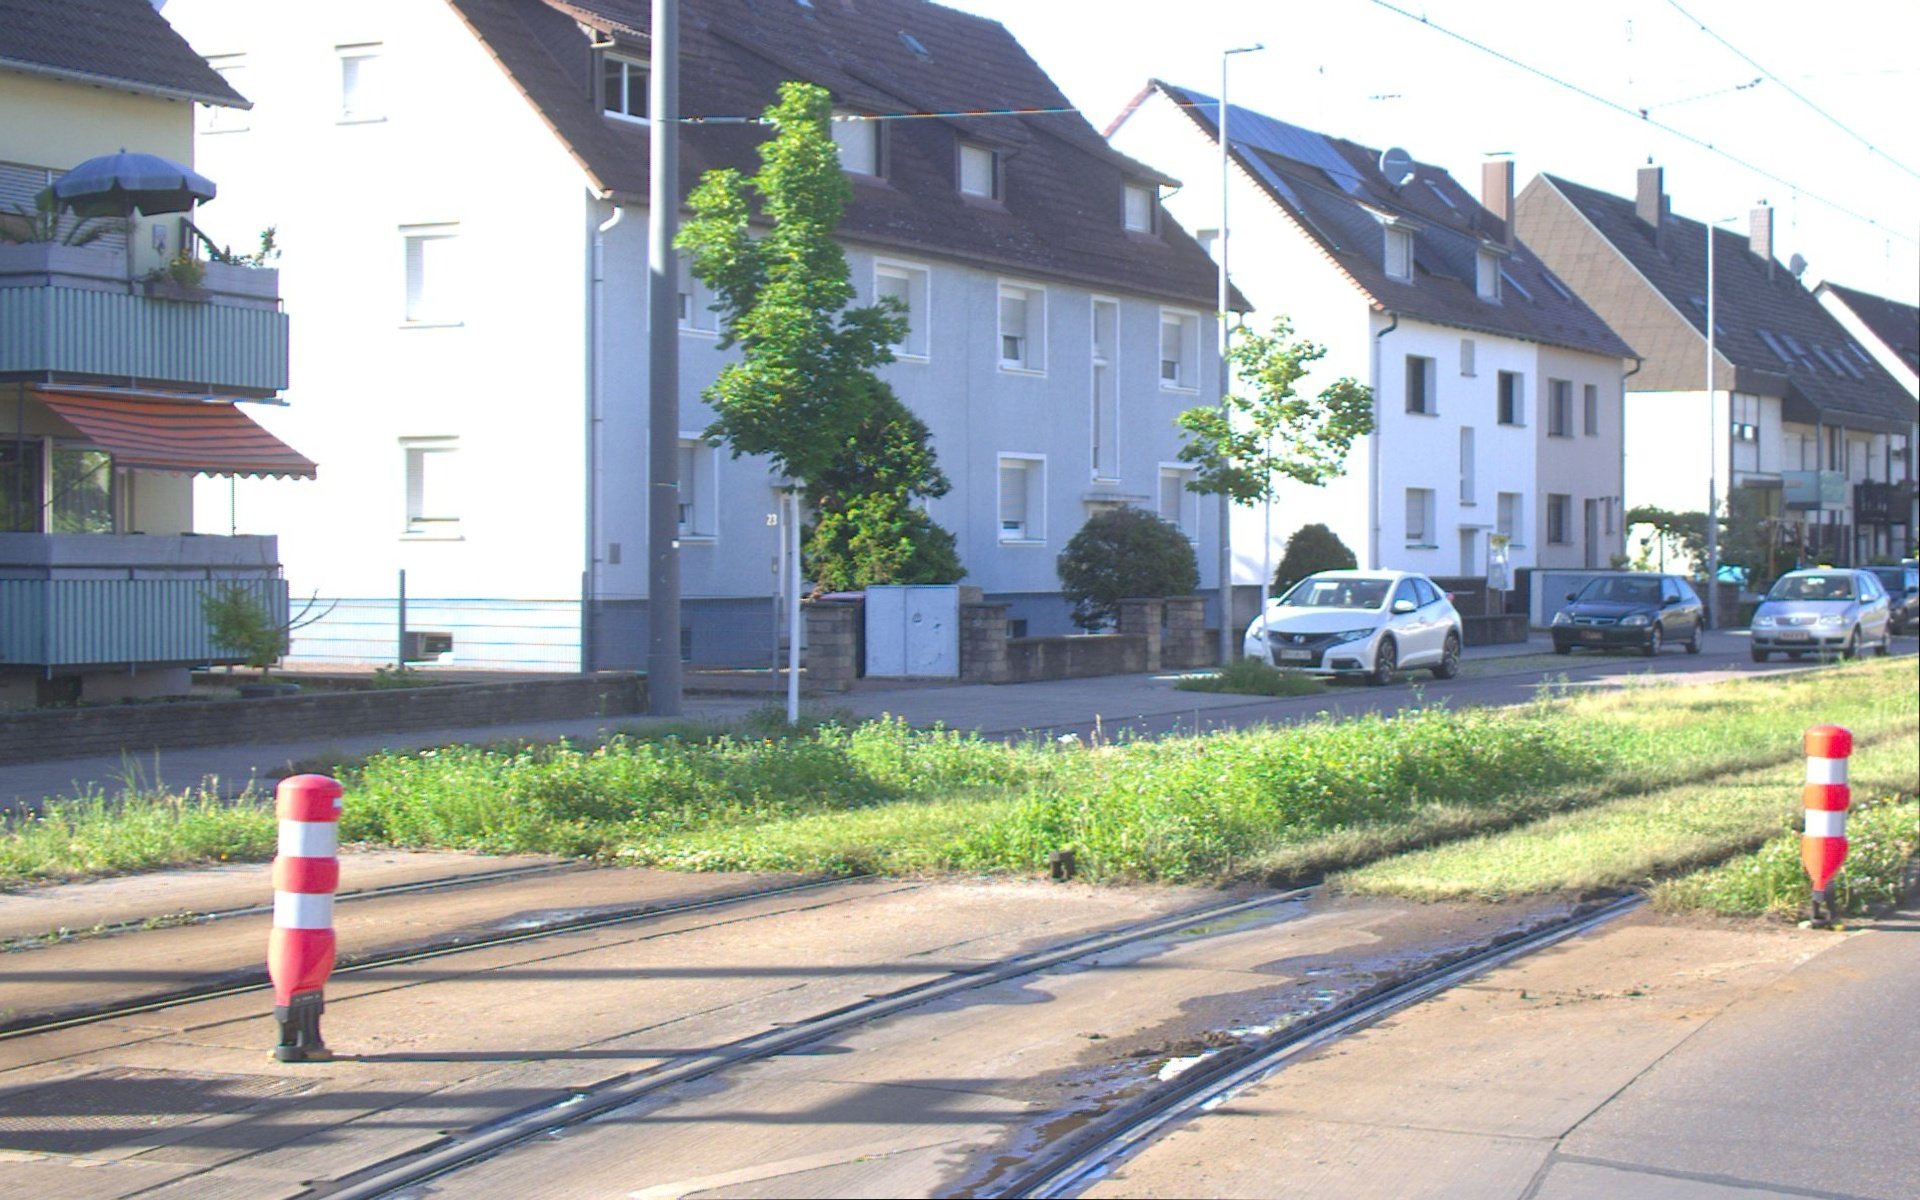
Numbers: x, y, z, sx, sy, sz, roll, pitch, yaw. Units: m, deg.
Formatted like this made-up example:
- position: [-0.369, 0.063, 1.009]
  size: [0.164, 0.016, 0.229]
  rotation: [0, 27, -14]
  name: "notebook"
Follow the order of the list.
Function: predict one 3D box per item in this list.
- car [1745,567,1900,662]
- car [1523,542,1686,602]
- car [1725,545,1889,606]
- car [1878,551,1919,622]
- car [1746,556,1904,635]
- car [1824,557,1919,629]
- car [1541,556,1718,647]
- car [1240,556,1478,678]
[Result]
- position: [13.454, 0.202, 53.521]
  size: [1.552, 1.407, 3.653]
  rotation: [0, 1, 27]
  name: "car"
- position: [18.269, -0.813, 97.432]
  size: [4.165, 1.648, 1.854]
  rotation: [1, 1, 30]
  name: "car"
- position: [23.367, -0.689, 94.861]
  size: [4.170, 1.611, 1.757]
  rotation: [1, 1, 23]
  name: "car"
- position: [22.595, -0.331, 79.731]
  size: [1.805, 1.591, 4.806]
  rotation: [1, 1, 24]
  name: "car"
- position: [17.695, -0.106, 70.179]
  size: [1.880, 1.517, 4.872]
  rotation: [2, 1, 29]
  name: "car"
- position: [20.075, -0.176, 74.829]
  size: [1.523, 1.470, 4.194]
  rotation: [1, 1, 27]
  name: "car"
- position: [11.210, -0.007, 57.365]
  size: [1.793, 1.458, 4.160]
  rotation: [1, 1, 27]
  name: "car"
- position: [5.251, 0.182, 44.807]
  size: [1.695, 1.512, 4.208]
  rotation: [0, 1, 27]
  name: "car"
